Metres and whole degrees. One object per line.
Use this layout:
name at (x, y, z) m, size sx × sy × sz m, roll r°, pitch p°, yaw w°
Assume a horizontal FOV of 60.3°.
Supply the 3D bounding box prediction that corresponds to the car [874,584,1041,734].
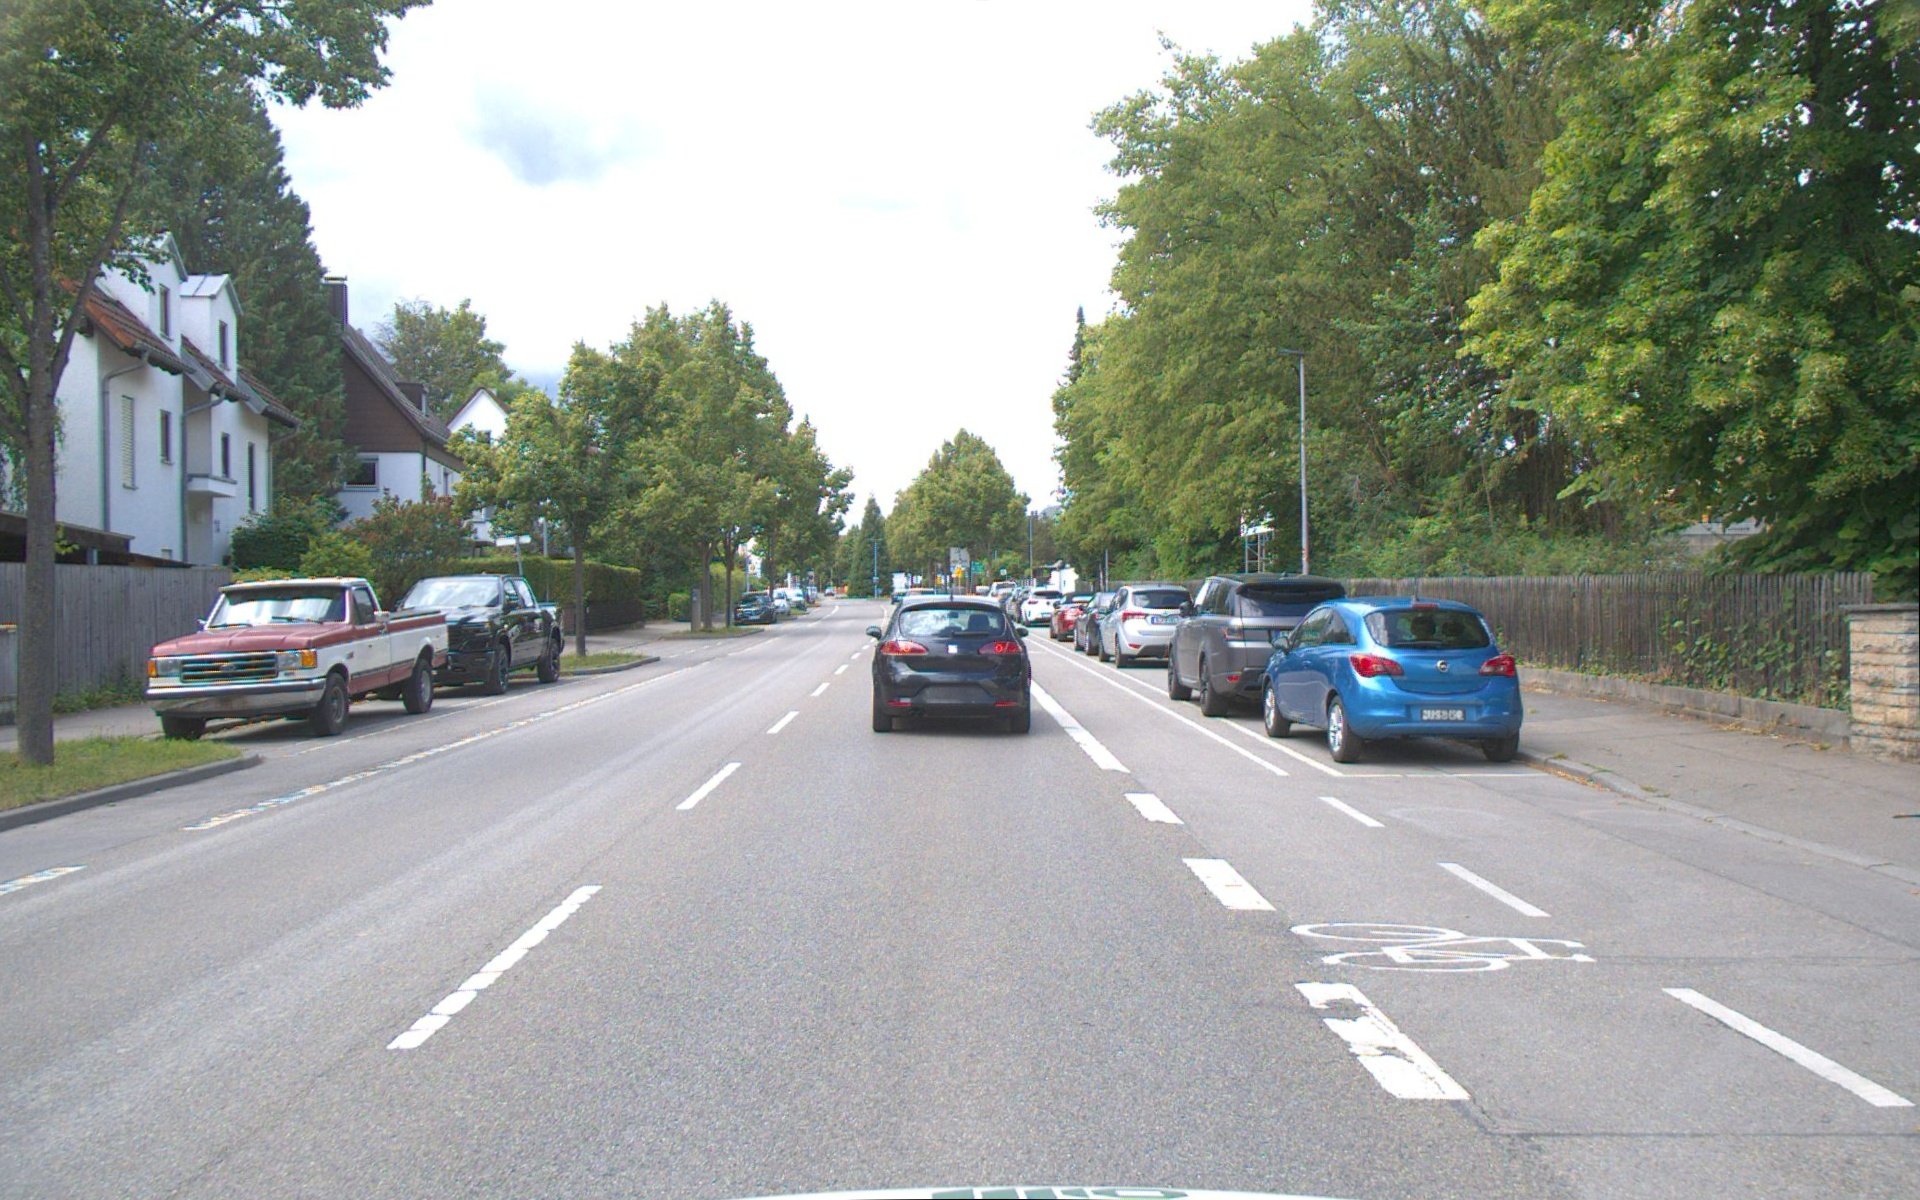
car at (-0.051, 0.585, 18.898) m, size 1.697 × 1.512 × 3.999 m, roll 1°, pitch 0°, yaw -1°

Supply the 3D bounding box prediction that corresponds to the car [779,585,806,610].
car at (-11.145, -0.212, 109.988) m, size 1.644 × 1.579 × 4.268 m, roll -2°, pitch 1°, yaw -5°

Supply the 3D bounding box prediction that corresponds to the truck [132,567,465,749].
truck at (-8.128, 0.618, 21.037) m, size 1.927 × 1.901 × 5.664 m, roll -3°, pitch 0°, yaw -1°

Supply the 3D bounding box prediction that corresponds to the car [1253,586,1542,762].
car at (4.178, 0.642, 16.426) m, size 1.651 × 1.527 × 3.919 m, roll 0°, pitch 0°, yaw -3°

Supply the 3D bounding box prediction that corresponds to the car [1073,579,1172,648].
car at (3.830, 0.301, 39.703) m, size 1.779 × 1.541 × 4.678 m, roll 0°, pitch 0°, yaw -2°

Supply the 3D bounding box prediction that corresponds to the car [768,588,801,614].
car at (-10.835, 0.029, 102.134) m, size 1.955 × 1.510 × 4.884 m, roll -2°, pitch 1°, yaw -6°

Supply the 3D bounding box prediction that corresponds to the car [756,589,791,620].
car at (-10.395, 0.226, 92.171) m, size 1.684 × 1.641 × 3.907 m, roll -2°, pitch 1°, yaw -4°

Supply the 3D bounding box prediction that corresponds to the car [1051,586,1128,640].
car at (3.772, 0.347, 48.858) m, size 1.821 × 1.438 × 4.442 m, roll 1°, pitch 1°, yaw -2°

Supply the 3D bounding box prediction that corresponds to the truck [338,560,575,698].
truck at (-8.476, 0.422, 28.569) m, size 2.374 × 2.079 × 5.993 m, roll -1°, pitch 1°, yaw -2°

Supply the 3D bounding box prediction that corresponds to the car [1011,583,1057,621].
car at (3.115, 0.063, 70.220) m, size 1.667 × 1.536 × 4.537 m, roll 0°, pitch 1°, yaw -1°

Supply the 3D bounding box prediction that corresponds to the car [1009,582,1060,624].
car at (2.864, 0.109, 64.261) m, size 1.732 × 1.537 × 4.030 m, roll -1°, pitch 0°, yaw -1°

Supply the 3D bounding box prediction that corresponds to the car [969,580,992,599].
car at (1.607, -0.797, 132.143) m, size 1.580 × 1.401 × 4.384 m, roll -2°, pitch -1°, yaw -3°

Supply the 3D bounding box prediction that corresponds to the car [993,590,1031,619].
car at (2.775, 0.229, 88.958) m, size 1.825 × 1.441 × 4.602 m, roll -1°, pitch 1°, yaw -1°

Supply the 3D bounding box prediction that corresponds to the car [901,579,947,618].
car at (-1.615, -0.083, 72.659) m, size 1.953 × 1.641 × 3.998 m, roll -1°, pitch 1°, yaw -2°

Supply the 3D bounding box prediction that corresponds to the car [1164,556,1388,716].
car at (3.970, 0.417, 21.657) m, size 1.953 × 1.847 × 4.826 m, roll 0°, pitch 0°, yaw -1°

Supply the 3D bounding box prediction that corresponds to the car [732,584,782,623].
car at (-9.510, 0.146, 77.828) m, size 2.054 × 1.675 × 5.033 m, roll -2°, pitch 1°, yaw -5°

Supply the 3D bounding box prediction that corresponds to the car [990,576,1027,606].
car at (2.786, -0.526, 95.557) m, size 1.862 × 1.671 × 4.115 m, roll -2°, pitch 0°, yaw -2°

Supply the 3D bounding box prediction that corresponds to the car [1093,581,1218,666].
car at (3.939, 0.434, 34.024) m, size 1.825 × 1.617 × 4.419 m, roll -1°, pitch 1°, yaw -3°

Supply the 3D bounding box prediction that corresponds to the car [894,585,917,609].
car at (-4.679, -0.276, 141.958) m, size 1.953 × 2.049 × 3.998 m, roll -1°, pitch 0°, yaw -2°
